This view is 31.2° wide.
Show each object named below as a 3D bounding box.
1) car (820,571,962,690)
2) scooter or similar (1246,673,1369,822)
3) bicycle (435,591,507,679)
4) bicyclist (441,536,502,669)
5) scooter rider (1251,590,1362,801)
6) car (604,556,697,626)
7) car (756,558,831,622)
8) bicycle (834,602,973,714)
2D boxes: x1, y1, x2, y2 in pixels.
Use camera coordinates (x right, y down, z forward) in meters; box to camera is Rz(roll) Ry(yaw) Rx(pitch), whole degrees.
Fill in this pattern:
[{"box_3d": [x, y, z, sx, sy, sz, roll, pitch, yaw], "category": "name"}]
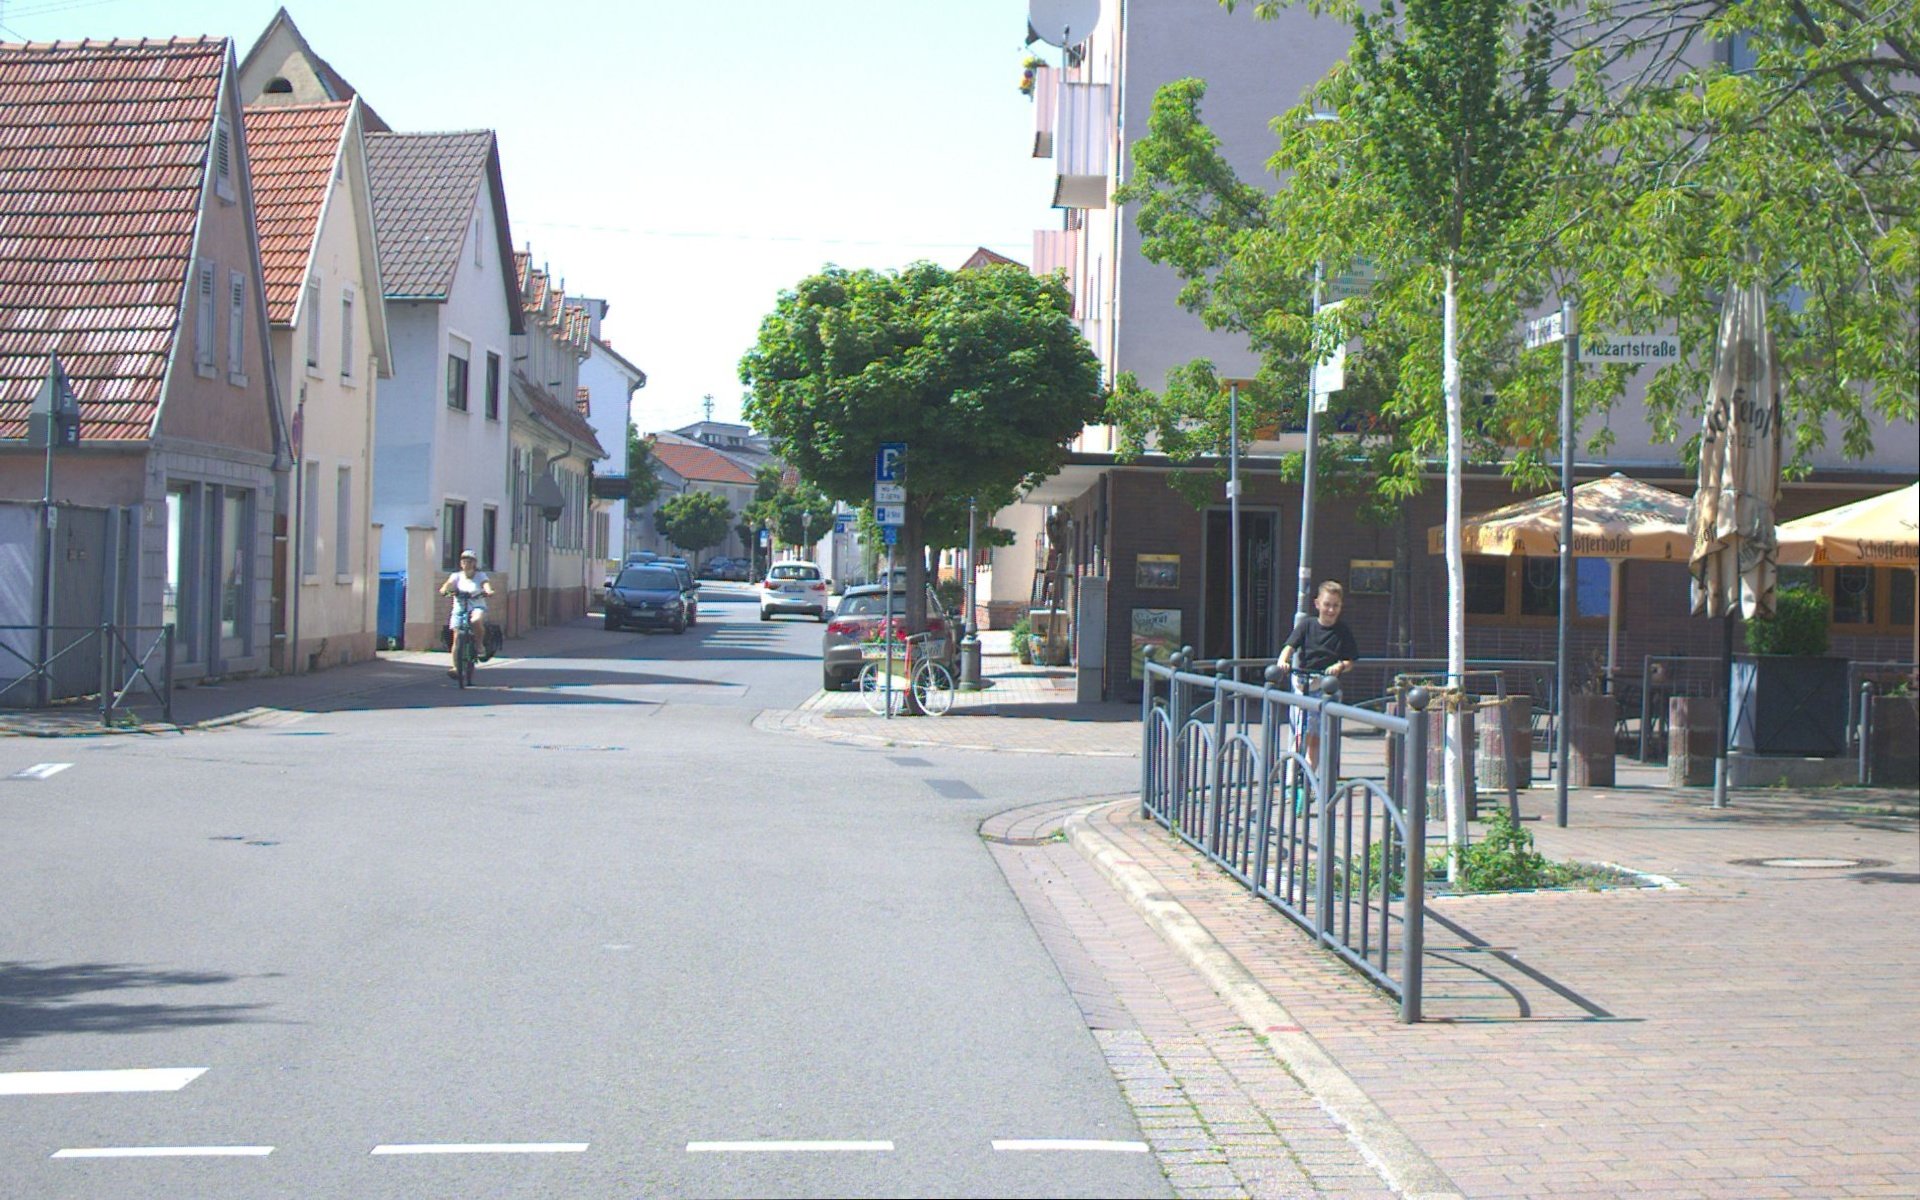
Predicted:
[{"box_3d": [-0.912, 0.391, 47.400, 1.805, 1.496, 4.000, 1, 1, 1], "category": "car"}, {"box_3d": [2.133, 0.900, 21.166, 0.378, 0.870, 0.890, 1, 0, -20], "category": "scooter or similar"}, {"box_3d": [-6.232, 0.431, 43.880, 0.674, 1.090, 1.896, 0, 0, -1], "category": "bicycle"}, {"box_3d": [-6.225, 0.028, 43.826, 0.669, 1.685, 0.761, 0, 0, -1], "category": "bicyclist"}, {"box_3d": [2.135, 0.585, 21.186, 0.516, 1.281, 0.418, 1, 0, -21], "category": "scooter rider"}, {"box_3d": [-7.014, -0.217, 78.206, 1.714, 1.512, 3.786, 1, 0, 0], "category": "car"}, {"box_3d": [-4.467, -0.279, 92.756, 1.834, 1.646, 4.000, 1, 0, 0], "category": "car"}, {"box_3d": [-0.640, 0.641, 38.629, 0.525, 1.189, 1.674, 1, 0, -44], "category": "bicycle"}]
